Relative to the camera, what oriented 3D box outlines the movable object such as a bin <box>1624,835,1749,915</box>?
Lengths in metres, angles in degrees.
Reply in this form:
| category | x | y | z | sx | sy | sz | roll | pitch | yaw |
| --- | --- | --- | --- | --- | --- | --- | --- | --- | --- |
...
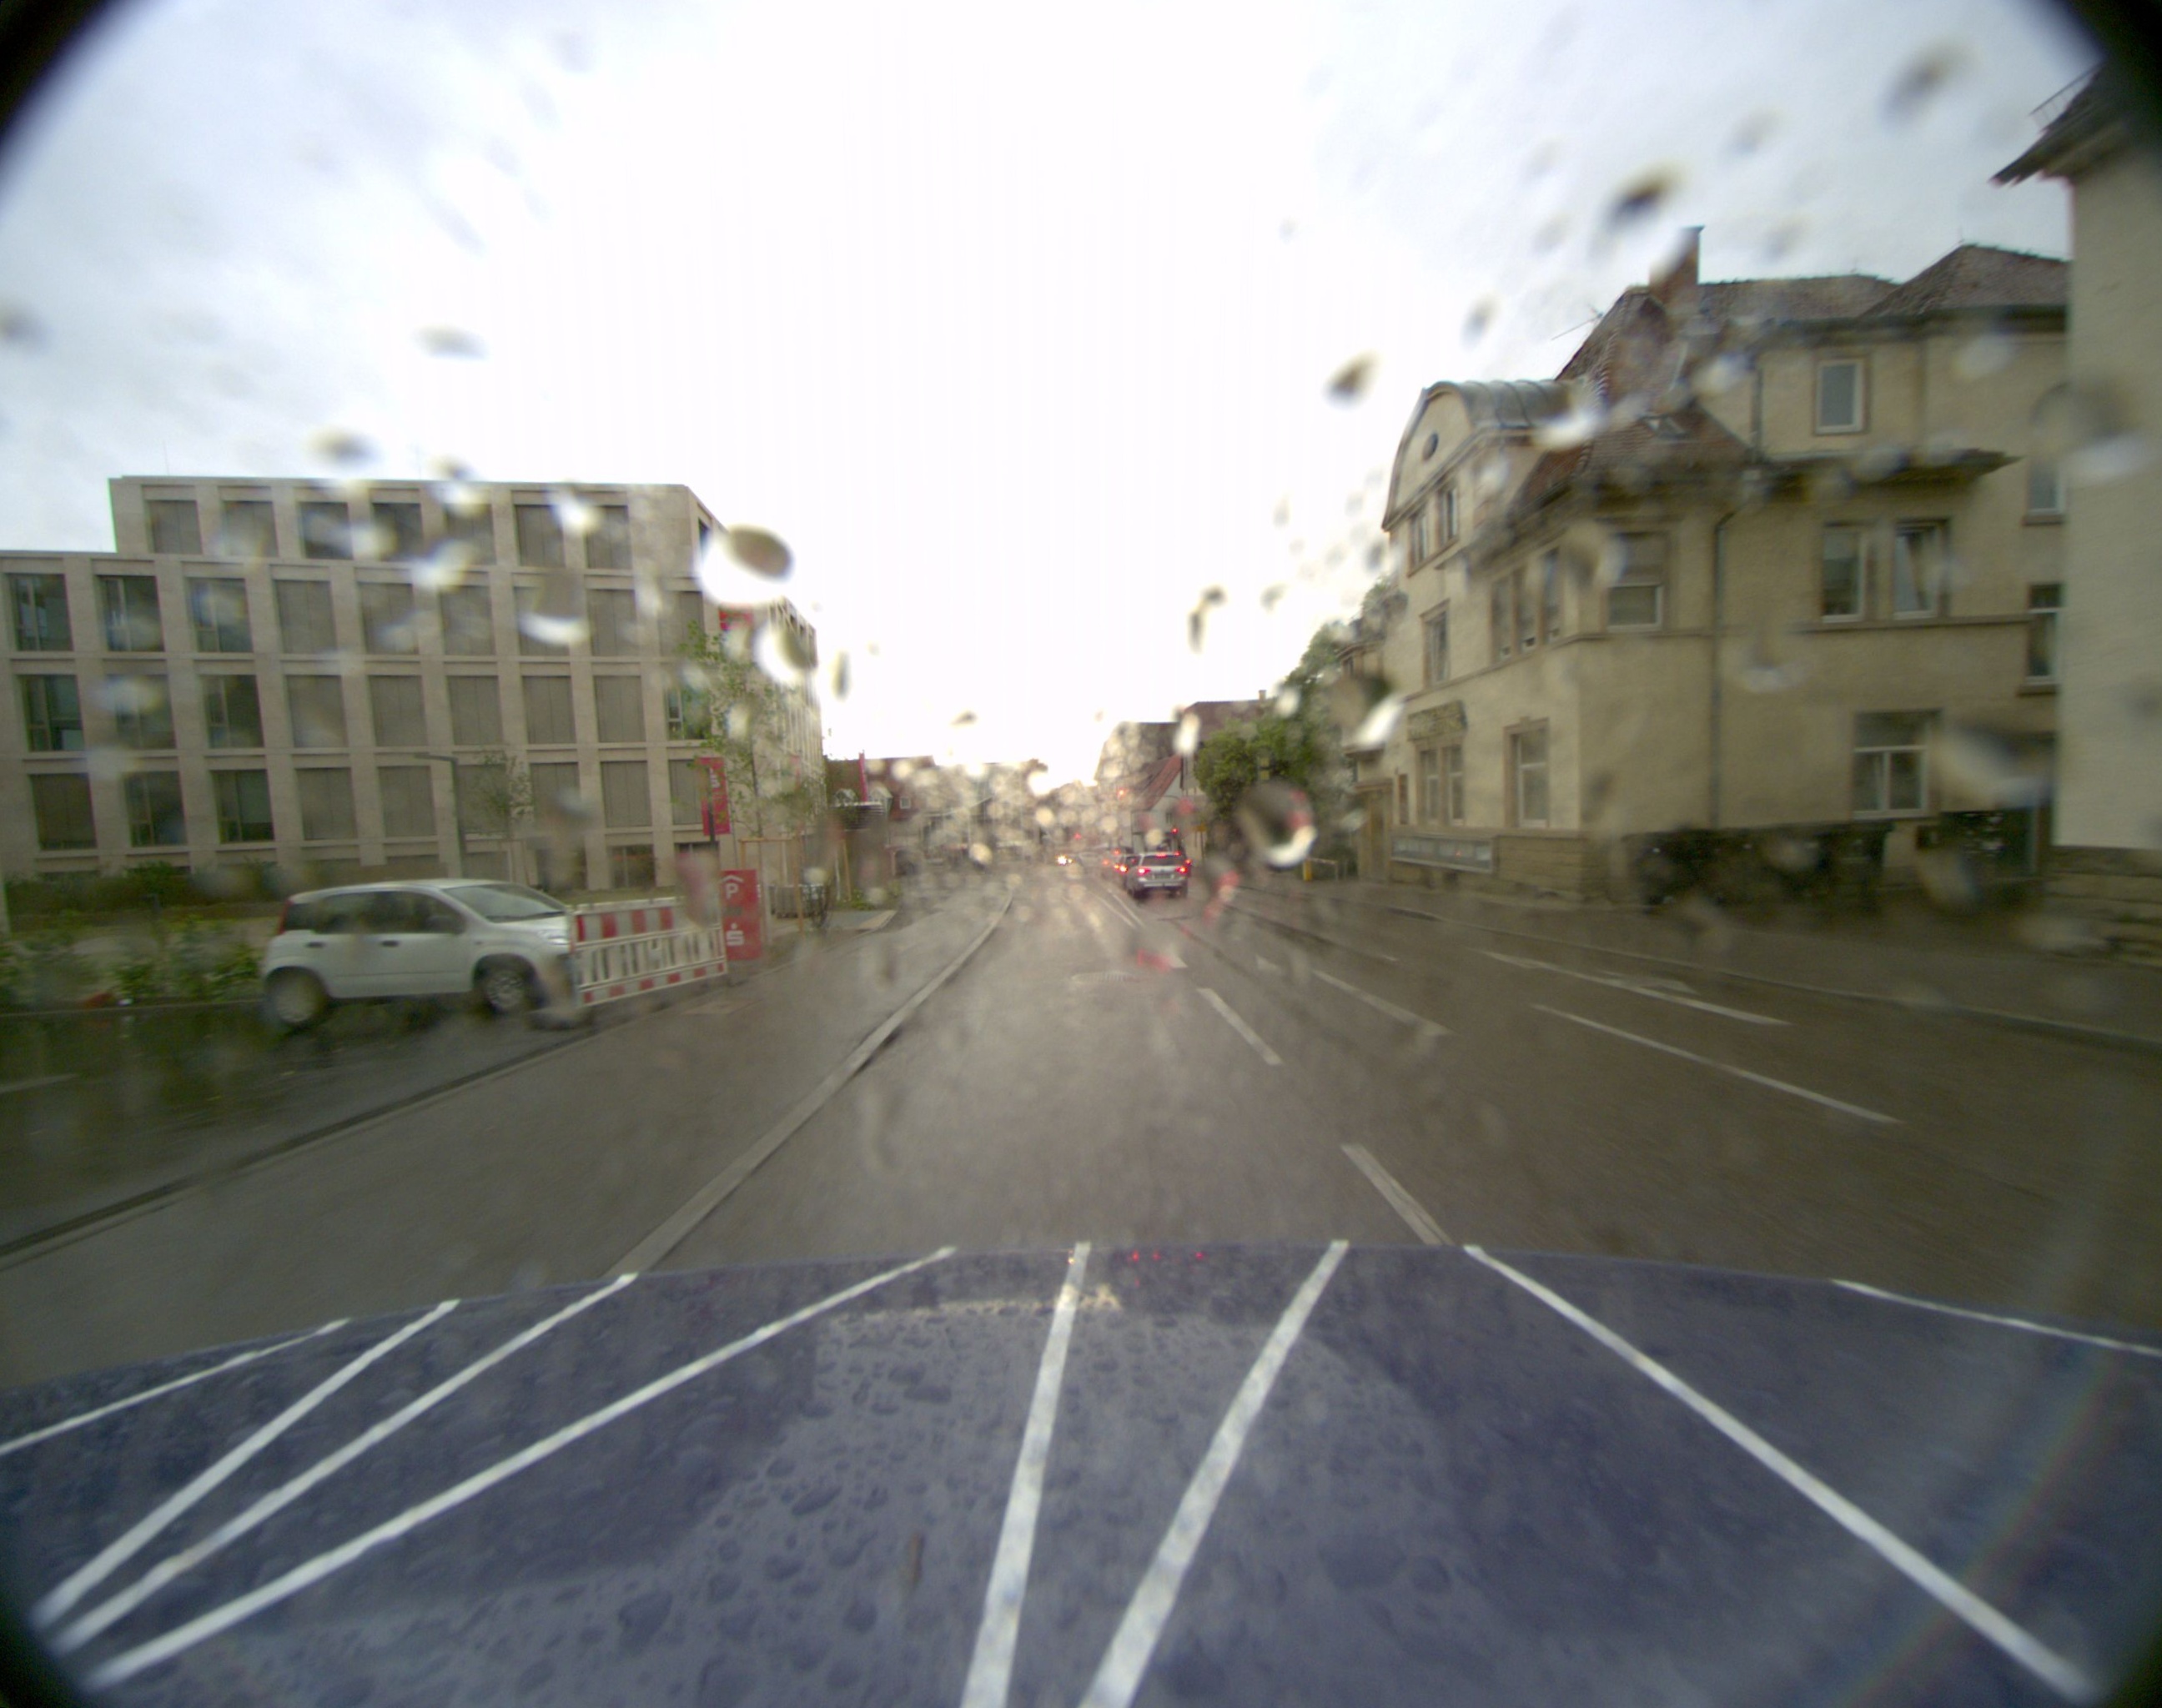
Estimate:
| category | x | y | z | sx | sy | sz | roll | pitch | yaw |
| --- | --- | --- | --- | --- | --- | --- | --- | --- | --- |
| movable object such as a bin | 10.371 | 0.341 | 13.069 | 1.283 | 1.259 | 1.050 | -3 | 1 | -1 |

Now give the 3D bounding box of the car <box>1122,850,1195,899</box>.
| category | x | y | z | sx | sy | sz | roll | pitch | yaw |
| --- | --- | --- | --- | --- | --- | --- | --- | --- | --- |
| car | 2.519 | 0.627 | 25.888 | 1.804 | 1.431 | 4.687 | -3 | 0 | -2 |

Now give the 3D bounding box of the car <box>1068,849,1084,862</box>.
| category | x | y | z | sx | sy | sz | roll | pitch | yaw |
| --- | --- | --- | --- | --- | --- | --- | --- | --- | --- |
| car | -0.664 | 0.219 | 98.239 | 1.727 | 1.538 | 3.998 | -3 | 0 | -4 |

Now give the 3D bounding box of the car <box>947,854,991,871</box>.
| category | x | y | z | sx | sy | sz | roll | pitch | yaw |
| --- | --- | --- | --- | --- | --- | --- | --- | --- | --- |
| car | -11.550 | 0.894 | 78.628 | 3.995 | 1.534 | 2.001 | -3 | 1 | 6 |

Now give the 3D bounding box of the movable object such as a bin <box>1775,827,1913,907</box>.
| category | x | y | z | sx | sy | sz | roll | pitch | yaw |
| --- | --- | --- | --- | --- | --- | --- | --- | --- | --- |
| movable object such as a bin | 13.020 | 0.209 | 13.015 | 1.283 | 1.259 | 1.050 | -3 | 1 | -1 |

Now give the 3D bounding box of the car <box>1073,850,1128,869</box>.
| category | x | y | z | sx | sy | sz | roll | pitch | yaw |
| --- | --- | --- | --- | --- | --- | --- | --- | --- | --- |
| car | 1.894 | 0.474 | 72.296 | 5.027 | 1.536 | 2.001 | -3 | 1 | 5 |

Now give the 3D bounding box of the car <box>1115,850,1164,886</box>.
| category | x | y | z | sx | sy | sz | roll | pitch | yaw |
| --- | --- | --- | --- | --- | --- | --- | --- | --- | --- |
| car | 2.549 | 0.572 | 34.263 | 1.803 | 1.431 | 4.688 | -3 | 0 | 0 |

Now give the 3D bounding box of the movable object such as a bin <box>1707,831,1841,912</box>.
| category | x | y | z | sx | sy | sz | roll | pitch | yaw |
| --- | --- | --- | --- | --- | --- | --- | --- | --- | --- |
| movable object such as a bin | 11.707 | 0.275 | 12.891 | 1.283 | 1.259 | 1.050 | -3 | 1 | -1 |

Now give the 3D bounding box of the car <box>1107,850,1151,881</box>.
| category | x | y | z | sx | sy | sz | roll | pitch | yaw |
| --- | --- | --- | --- | --- | --- | --- | --- | --- | --- |
| car | 2.472 | 0.543 | 40.276 | 1.946 | 1.432 | 5.015 | -3 | 0 | -1 |

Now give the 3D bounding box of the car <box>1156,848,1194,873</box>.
| category | x | y | z | sx | sy | sz | roll | pitch | yaw |
| --- | --- | --- | --- | --- | --- | --- | --- | --- | --- |
| car | 5.810 | 0.375 | 47.265 | 1.742 | 1.346 | 4.059 | -3 | 0 | -1 |

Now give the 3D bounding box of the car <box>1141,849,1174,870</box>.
| category | x | y | z | sx | sy | sz | roll | pitch | yaw |
| --- | --- | --- | --- | --- | --- | --- | --- | --- | --- |
| car | 5.323 | 0.369 | 53.405 | 1.853 | 1.286 | 4.032 | -3 | 0 | 1 |

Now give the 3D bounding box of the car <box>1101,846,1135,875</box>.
| category | x | y | z | sx | sy | sz | roll | pitch | yaw |
| --- | --- | --- | --- | --- | --- | --- | --- | --- | --- |
| car | 2.269 | 0.375 | 47.543 | 1.853 | 1.654 | 4.219 | -3 | 0 | 1 |

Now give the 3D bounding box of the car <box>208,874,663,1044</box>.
| category | x | y | z | sx | sy | sz | roll | pitch | yaw |
| --- | --- | --- | --- | --- | --- | --- | --- | --- | --- |
| car | -7.259 | 1.125 | 8.858 | 3.676 | 1.494 | 1.776 | -4 | 0 | 0 |
